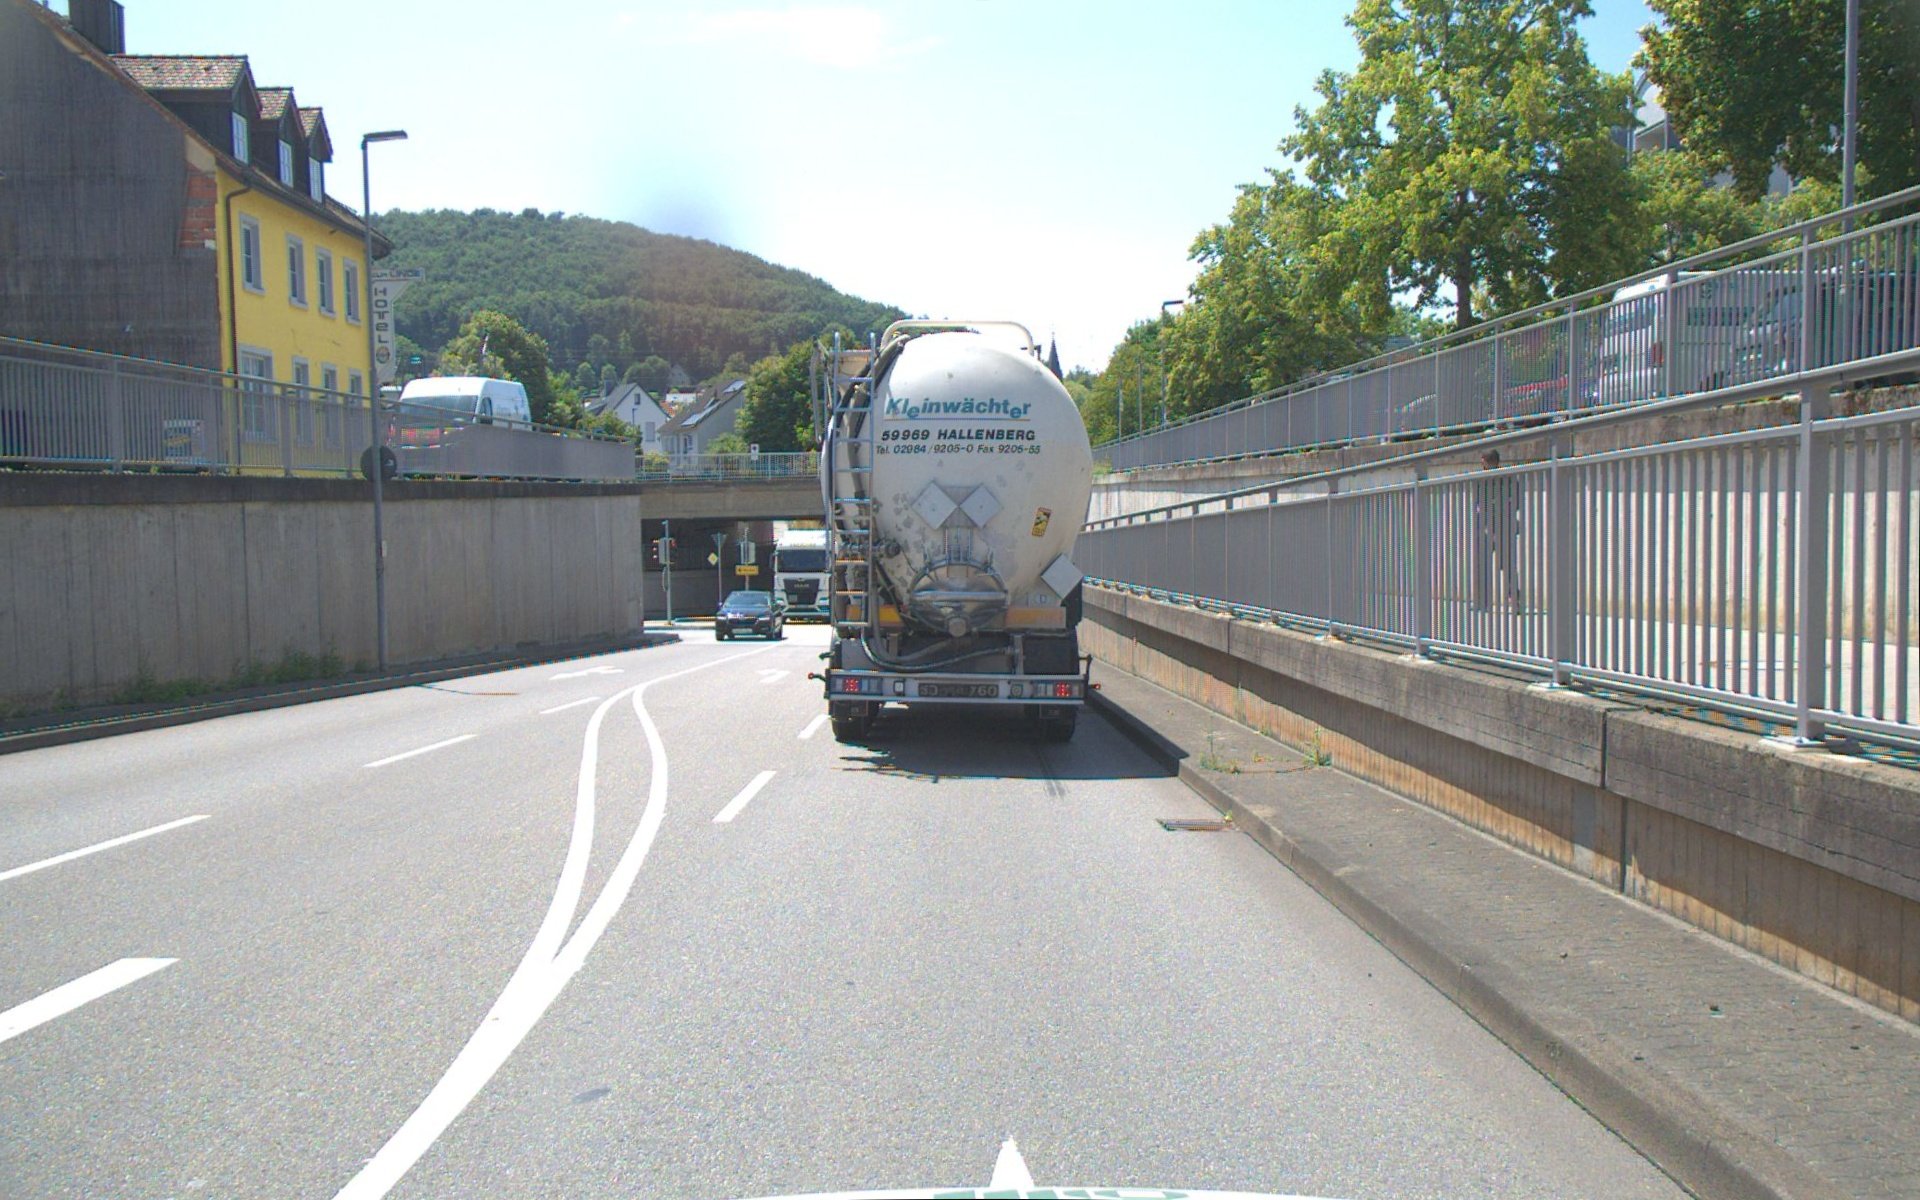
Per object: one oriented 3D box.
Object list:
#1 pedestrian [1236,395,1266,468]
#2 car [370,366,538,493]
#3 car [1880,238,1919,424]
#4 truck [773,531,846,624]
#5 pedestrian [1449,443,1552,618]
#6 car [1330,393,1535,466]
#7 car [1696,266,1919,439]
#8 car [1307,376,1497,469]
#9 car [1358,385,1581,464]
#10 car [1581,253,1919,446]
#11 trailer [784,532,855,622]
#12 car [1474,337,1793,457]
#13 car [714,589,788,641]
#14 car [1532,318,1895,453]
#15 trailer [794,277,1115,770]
[{"bbox_3d":[7.355,-4.246,41.801,0.659,1.810,0.594,-1,3,1],"label":"pedestrian"},{"bbox_3d":[-11.290,-3.748,37.397,2.023,2.580,5.664,1,3,0],"label":"car"},{"bbox_3d":[10.130,-2.284,13.562,4.197,1.524,1.749,-1,3,0],"label":"car"},{"bbox_3d":[-6.619,-0.952,73.357,2.607,3.928,6.580,0,0,0],"label":"truck"},{"bbox_3d":[5.742,-0.729,17.617,0.819,1.813,0.788,-1,1,0],"label":"pedestrian"},{"bbox_3d":[9.835,-3.542,34.611,3.825,1.391,1.687,-1,3,0],"label":"car"},{"bbox_3d":[10.144,-2.569,17.319,4.118,1.623,1.687,-1,3,0],"label":"car"},{"bbox_3d":[9.850,-3.951,37.042,3.825,1.917,1.687,-1,3,0],"label":"car"},{"bbox_3d":[9.860,-3.390,32.172,3.825,1.391,1.687,-1,3,0],"label":"car"},{"bbox_3d":[10.405,-2.993,20.052,5.007,2.099,1.989,-1,3,0],"label":"car"},{"bbox_3d":[-6.585,-1.029,78.850,2.556,4.033,9.346,0,0,0],"label":"trailer"},{"bbox_3d":[10.041,-3.026,24.886,4.118,1.623,1.687,-1,3,0],"label":"car"},{"bbox_3d":[-6.411,0.428,51.222,1.724,1.515,4.368,0,0,0],"label":"car"},{"bbox_3d":[10.056,-2.859,22.284,4.118,1.623,1.687,-1,3,0],"label":"car"},{"bbox_3d":[0.016,-0.690,20.564,2.679,4.135,13.313,0,0,0],"label":"trailer"}]
